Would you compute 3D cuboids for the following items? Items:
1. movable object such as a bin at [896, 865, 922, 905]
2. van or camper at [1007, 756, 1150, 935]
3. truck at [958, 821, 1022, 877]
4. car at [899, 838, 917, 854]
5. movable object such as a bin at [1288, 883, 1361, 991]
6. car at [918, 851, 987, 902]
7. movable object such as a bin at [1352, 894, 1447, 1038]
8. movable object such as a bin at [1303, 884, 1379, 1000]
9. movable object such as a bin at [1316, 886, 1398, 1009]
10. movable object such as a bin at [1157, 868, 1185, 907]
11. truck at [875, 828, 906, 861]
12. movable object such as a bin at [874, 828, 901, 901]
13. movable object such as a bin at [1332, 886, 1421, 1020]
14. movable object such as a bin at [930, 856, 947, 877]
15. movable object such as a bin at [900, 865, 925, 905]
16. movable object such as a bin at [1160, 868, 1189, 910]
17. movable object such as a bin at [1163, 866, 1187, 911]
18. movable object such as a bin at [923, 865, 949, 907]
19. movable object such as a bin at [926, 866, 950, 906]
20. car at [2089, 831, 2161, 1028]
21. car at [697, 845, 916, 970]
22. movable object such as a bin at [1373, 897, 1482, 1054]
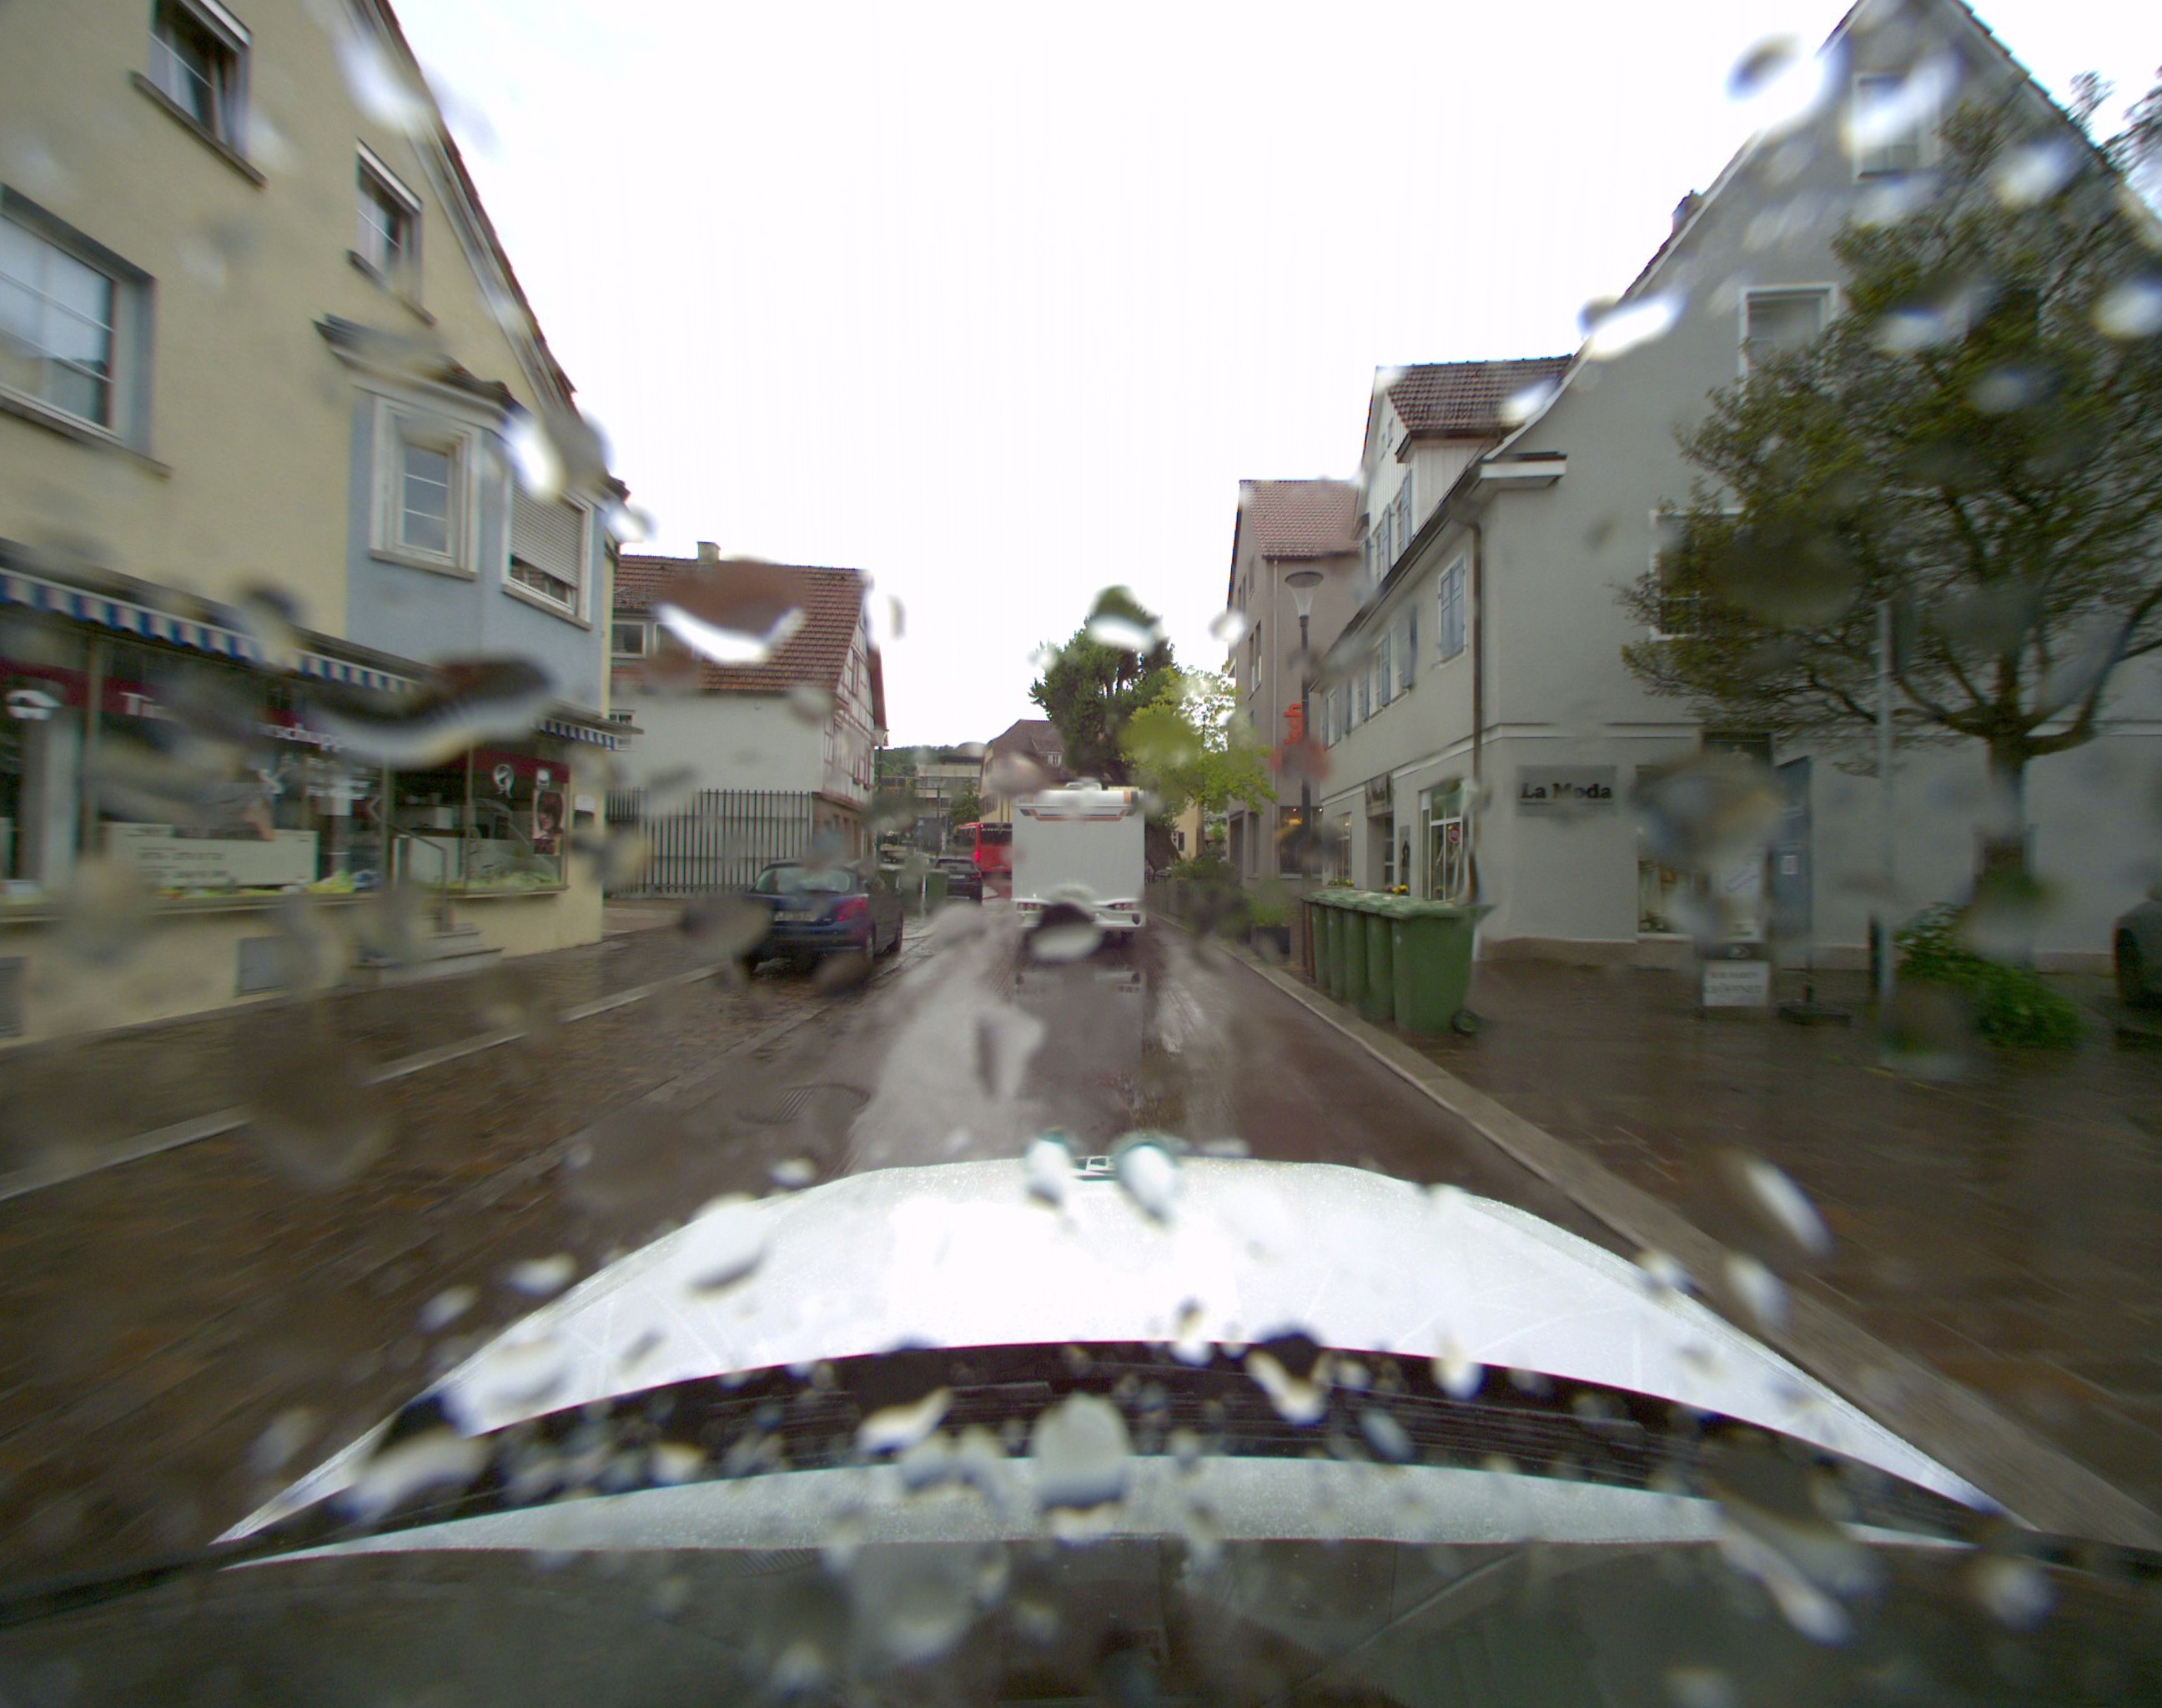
[{"bbox_3d":[-4.730,0.851,22.467,0.629,1.052,0.732,0,3,-7],"label":"movable object such as a bin"},{"bbox_3d":[-0.094,-0.080,16.507,2.319,2.919,6.389,0,-1,-1],"label":"van or camper"},{"bbox_3d":[-5.267,-0.224,46.022,2.468,2.939,6.160,0,-1,-17],"label":"truck"},{"bbox_3d":[-23.051,-0.998,108.467,1.998,2.014,3.977,0,-1,-17],"label":"car"},{"bbox_3d":[2.913,0.976,9.798,0.675,1.241,0.731,0,-1,1],"label":"movable object such as a bin"},{"bbox_3d":[-4.310,0.675,26.816,1.995,1.494,3.983,2,0,-12],"label":"car"},{"bbox_3d":[2.900,1.002,7.448,0.656,1.245,0.543,0,-1,1],"label":"movable object such as a bin"},{"bbox_3d":[2.909,0.968,9.144,0.675,1.250,0.565,0,-1,1],"label":"movable object such as a bin"},{"bbox_3d":[2.888,0.961,8.569,0.675,1.232,0.565,0,-1,1],"label":"movable object such as a bin"},{"bbox_3d":[2.533,0.948,22.943,0.727,1.080,0.576,0,-1,-2],"label":"movable object such as a bin"},{"bbox_3d":[-17.185,-0.783,73.322,2.286,2.758,5.535,0,-1,-17],"label":"truck"},{"bbox_3d":[-5.430,0.306,22.884,0.629,2.014,0.745,0,-1,-7],"label":"movable object such as a bin"},{"bbox_3d":[2.889,0.951,8.004,0.675,1.256,0.543,0,-1,1],"label":"movable object such as a bin"},{"bbox_3d":[-7.382,0.637,42.129,0.819,1.051,0.696,0,-1,-14],"label":"movable object such as a bin"},{"bbox_3d":[-4.805,0.877,23.256,0.629,1.123,0.732,0,-1,-7],"label":"movable object such as a bin"},{"bbox_3d":[2.492,0.923,21.699,0.691,1.102,0.561,0,-1,-2],"label":"movable object such as a bin"},{"bbox_3d":[2.424,0.890,21.108,0.542,1.156,0.576,0,-1,-2],"label":"movable object such as a bin"},{"bbox_3d":[-3.968,0.870,22.329,0.629,1.113,0.732,0,-1,-7],"label":"movable object such as a bin"},{"bbox_3d":[-4.057,0.907,23.102,0.629,1.123,0.732,0,-1,-7],"label":"movable object such as a bin"},{"bbox_3d":[9.859,0.642,6.337,1.801,1.655,4.387,-1,1,41],"label":"car"},{"bbox_3d":[-3.675,0.641,11.734,1.990,1.472,3.994,1,0,-4],"label":"car"},{"bbox_3d":[2.897,0.993,6.862,0.656,1.239,0.621,0,-1,1],"label":"movable object such as a bin"}]
